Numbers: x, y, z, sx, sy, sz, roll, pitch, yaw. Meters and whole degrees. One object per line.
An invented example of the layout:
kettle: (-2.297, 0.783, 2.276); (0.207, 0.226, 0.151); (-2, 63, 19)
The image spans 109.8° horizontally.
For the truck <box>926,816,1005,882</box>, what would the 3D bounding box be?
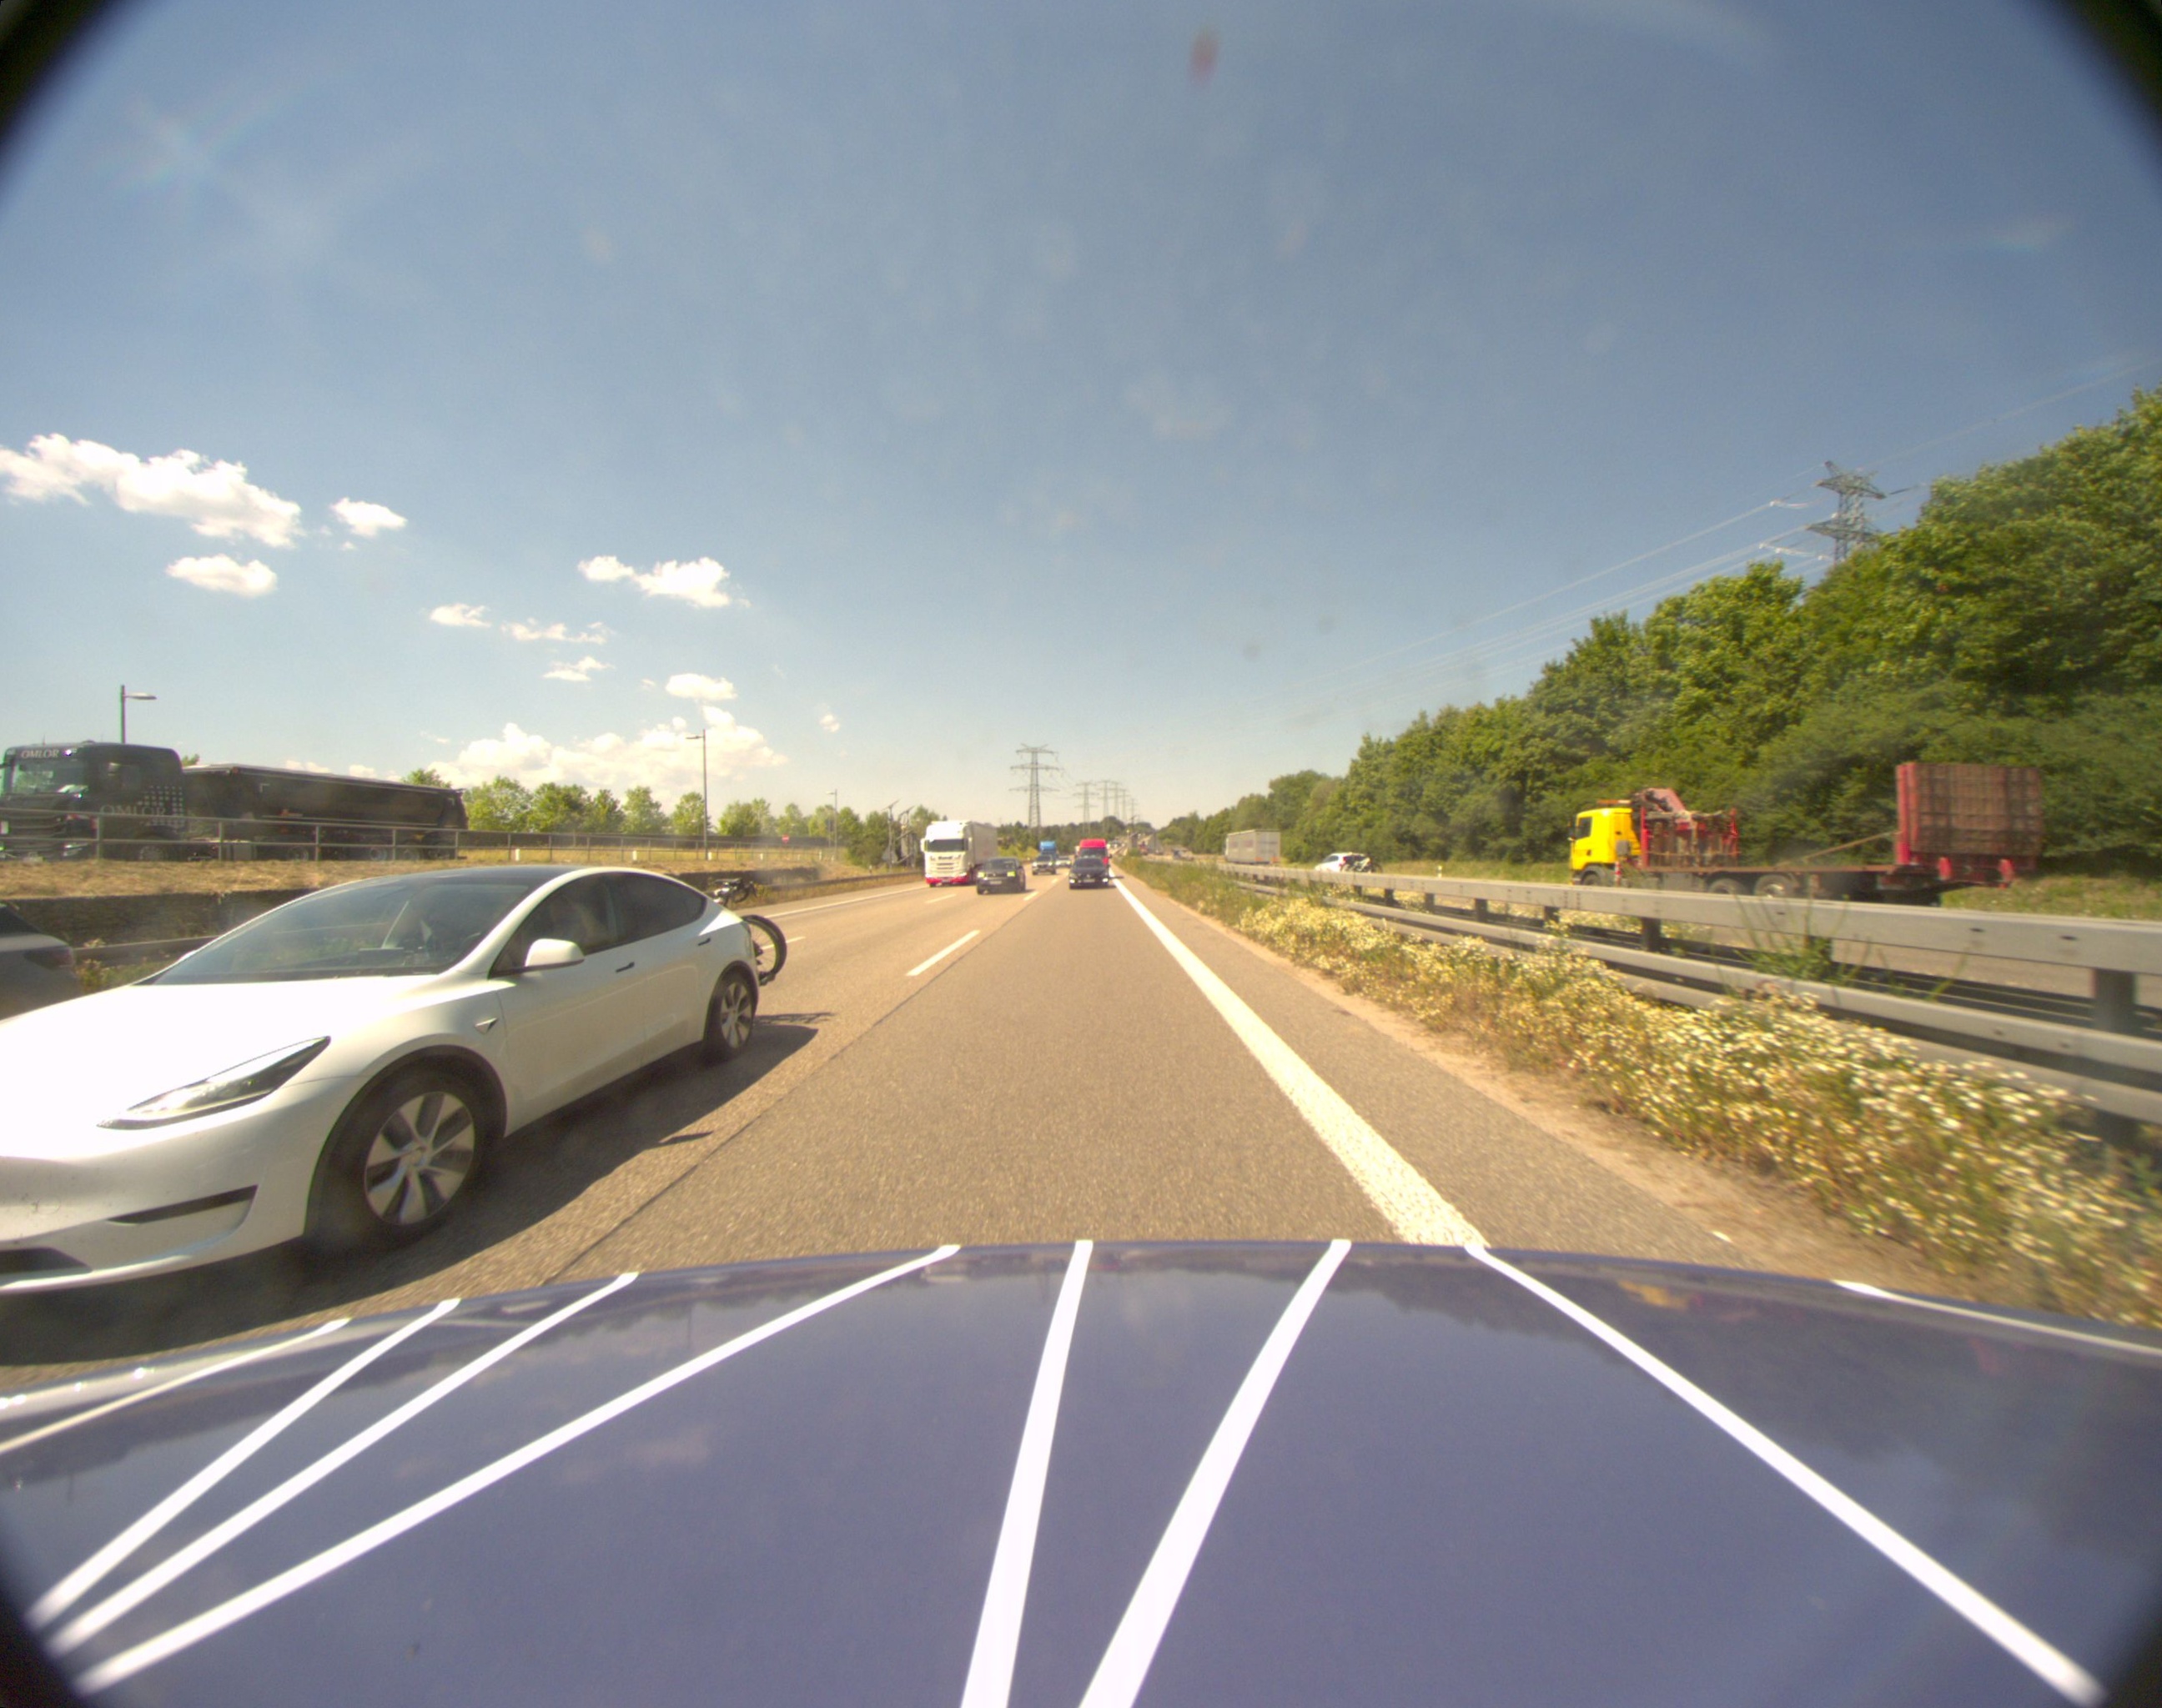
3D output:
truck: (-7.650, -0.377, 52.320); (3.076, 3.885, 12.503); (-2, 1, 1)

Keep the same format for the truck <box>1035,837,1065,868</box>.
truck: (-5.168, -0.391, 131.174); (3.797, 4.971, 14.924); (-2, 1, 2)

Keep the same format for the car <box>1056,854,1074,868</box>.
car: (-1.960, 0.877, 94.083); (1.878, 1.591, 3.688); (0, 1, 3)

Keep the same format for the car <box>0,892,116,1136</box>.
car: (-8.340, 1.170, 3.483); (1.873, 1.627, 4.585); (-2, 1, 1)

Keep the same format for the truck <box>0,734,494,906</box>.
truck: (-25.876, -0.872, 24.565); (3.798, 4.060, 12.516); (-2, 1, 0)

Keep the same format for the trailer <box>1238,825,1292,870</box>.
trailer: (19.042, -0.691, 79.253); (3.462, 4.255, 7.968); (-3, 1, 0)

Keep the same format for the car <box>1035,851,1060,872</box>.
car: (-2.804, 0.579, 64.682); (1.749, 1.691, 4.088); (0, 1, 3)

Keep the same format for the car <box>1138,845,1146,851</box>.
car: (16.399, -1.699, 205.221); (1.728, 1.647, 4.860); (1, 1, 1)

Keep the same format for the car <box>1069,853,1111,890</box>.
car: (0.449, 0.748, 34.167); (1.735, 1.536, 3.750); (0, 1, 2)

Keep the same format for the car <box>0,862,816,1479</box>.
car: (-3.750, 0.972, 4.964); (1.955, 1.627, 5.599); (-3, 1, 1)

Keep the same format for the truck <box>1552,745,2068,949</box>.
truck: (17.183, -0.213, 19.867); (2.789, 3.717, 11.156); (-2, 1, 1)

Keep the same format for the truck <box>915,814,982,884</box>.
truck: (-7.820, -0.297, 45.327); (3.076, 3.885, 3.847); (-2, 1, 1)

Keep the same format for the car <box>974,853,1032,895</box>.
car: (-3.457, 0.841, 34.423); (1.955, 1.637, 4.047); (-3, 1, 3)

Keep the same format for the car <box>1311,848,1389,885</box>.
car: (13.565, 0.567, 38.704); (1.998, 1.661, 5.610); (1, 1, 1)

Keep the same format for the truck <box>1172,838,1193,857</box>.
truck: (21.344, -1.431, 160.251); (3.003, 3.780, 10.788); (-1, 1, 1)

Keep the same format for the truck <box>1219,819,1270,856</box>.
truck: (18.940, -1.847, 88.818); (3.462, 3.971, 11.121); (-1, 1, 0)

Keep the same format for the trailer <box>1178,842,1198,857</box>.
trailer: (21.158, -0.914, 150.621); (3.153, 2.624, 8.531); (-2, 1, 2)

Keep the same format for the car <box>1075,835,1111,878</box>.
car: (0.801, 0.112, 48.163); (2.100, 2.598, 4.496); (0, 1, 3)
